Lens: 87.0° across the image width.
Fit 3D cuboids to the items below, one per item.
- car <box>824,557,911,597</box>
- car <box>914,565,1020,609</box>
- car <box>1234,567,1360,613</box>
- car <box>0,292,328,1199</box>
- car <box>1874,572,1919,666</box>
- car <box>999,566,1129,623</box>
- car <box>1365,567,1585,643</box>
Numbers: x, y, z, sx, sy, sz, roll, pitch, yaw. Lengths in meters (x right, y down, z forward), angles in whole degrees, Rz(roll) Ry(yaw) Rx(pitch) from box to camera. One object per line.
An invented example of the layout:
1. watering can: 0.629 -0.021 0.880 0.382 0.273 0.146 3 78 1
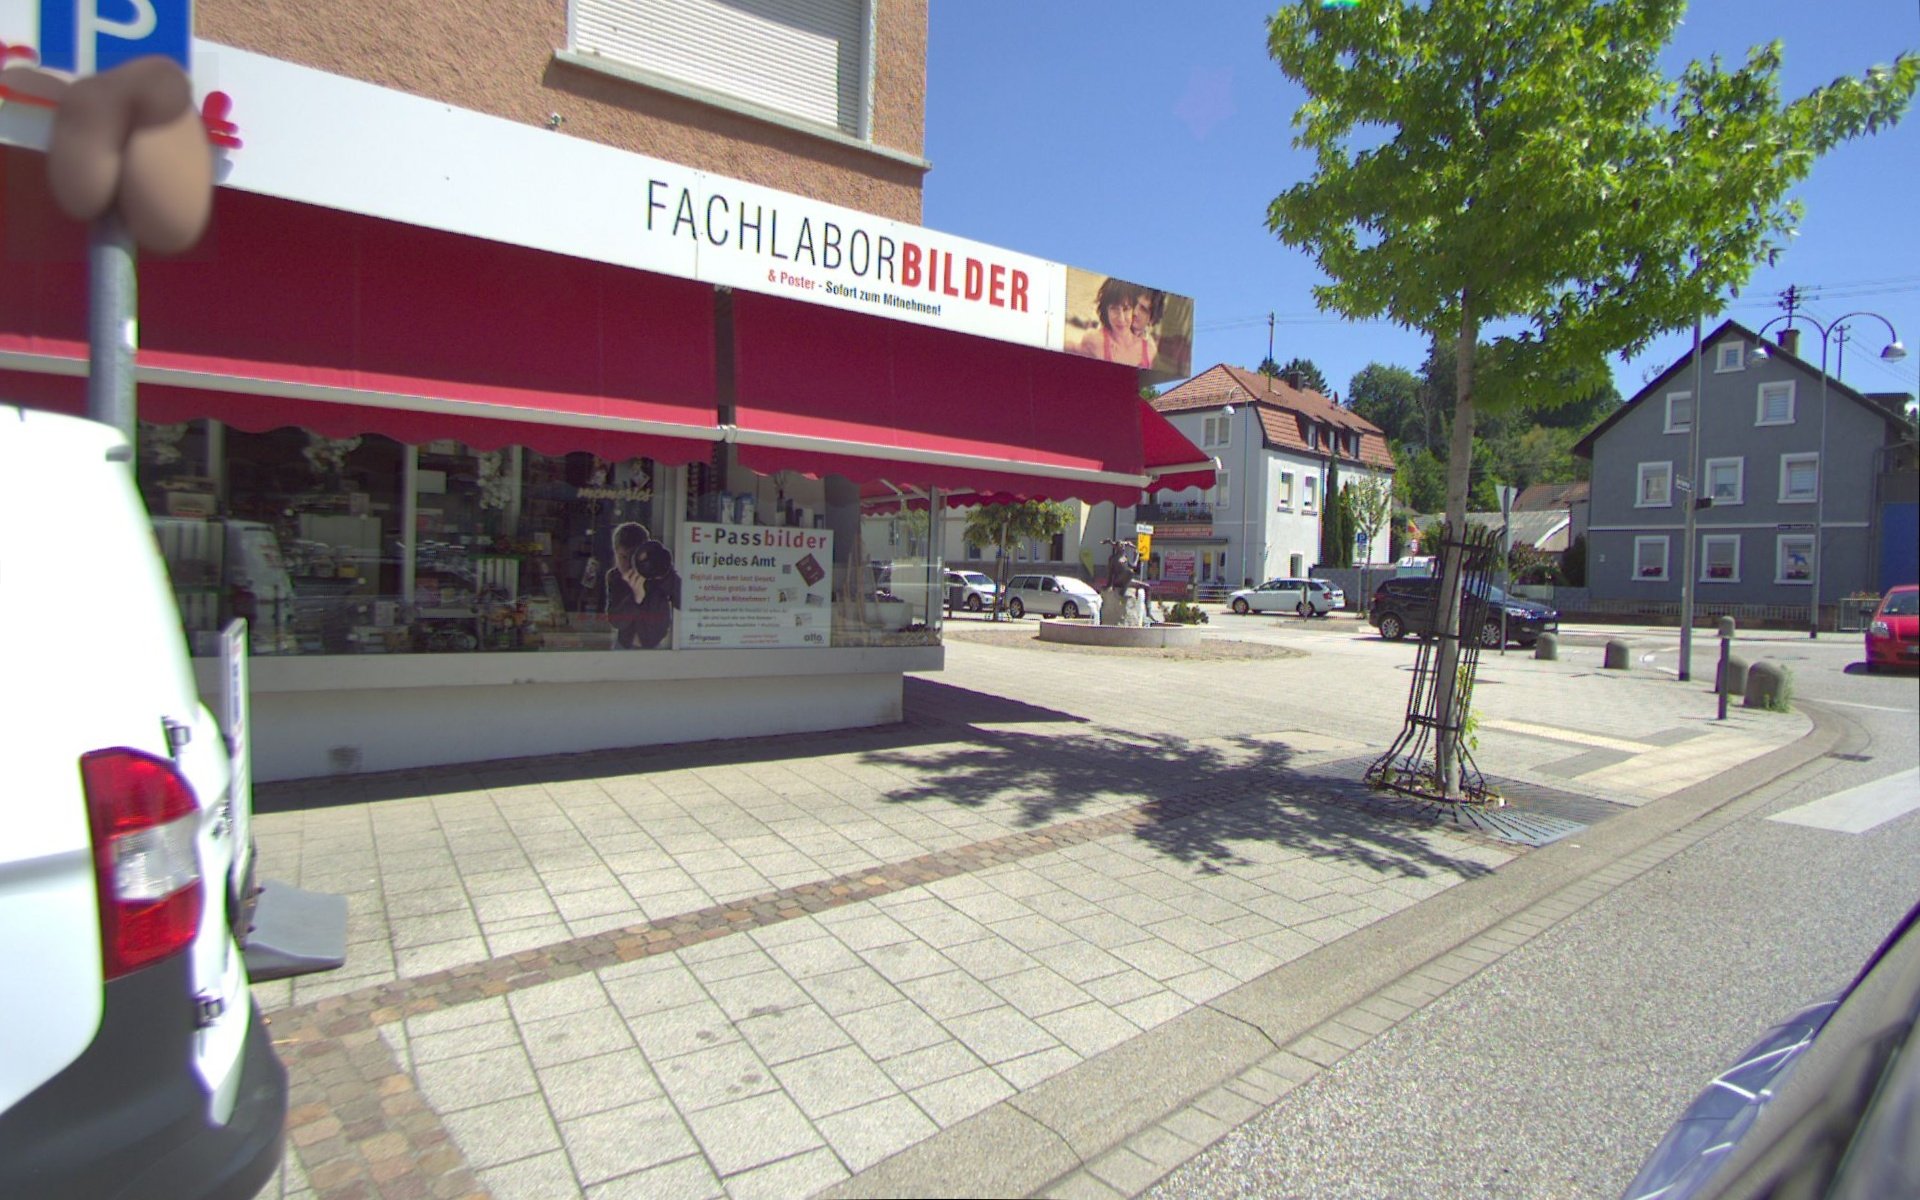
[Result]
1. car: -4.955 -1.236 54.117 4.259 1.888 1.975 4 2 34
2. car: 0.261 -0.557 40.605 3.979 1.593 1.812 3 3 38
3. car: 13.142 -0.443 39.613 4.270 1.603 1.972 2 6 42
4. car: -3.000 0.436 0.934 3.845 1.745 1.749 -1 4 -44
5. car: 17.514 0.310 17.923 1.829 1.552 3.936 0 0 44
6. car: 3.224 -0.213 32.040 1.768 1.610 3.998 3 0 -38
7. car: 12.736 0.028 25.299 1.962 1.709 4.528 -1 2 -34
